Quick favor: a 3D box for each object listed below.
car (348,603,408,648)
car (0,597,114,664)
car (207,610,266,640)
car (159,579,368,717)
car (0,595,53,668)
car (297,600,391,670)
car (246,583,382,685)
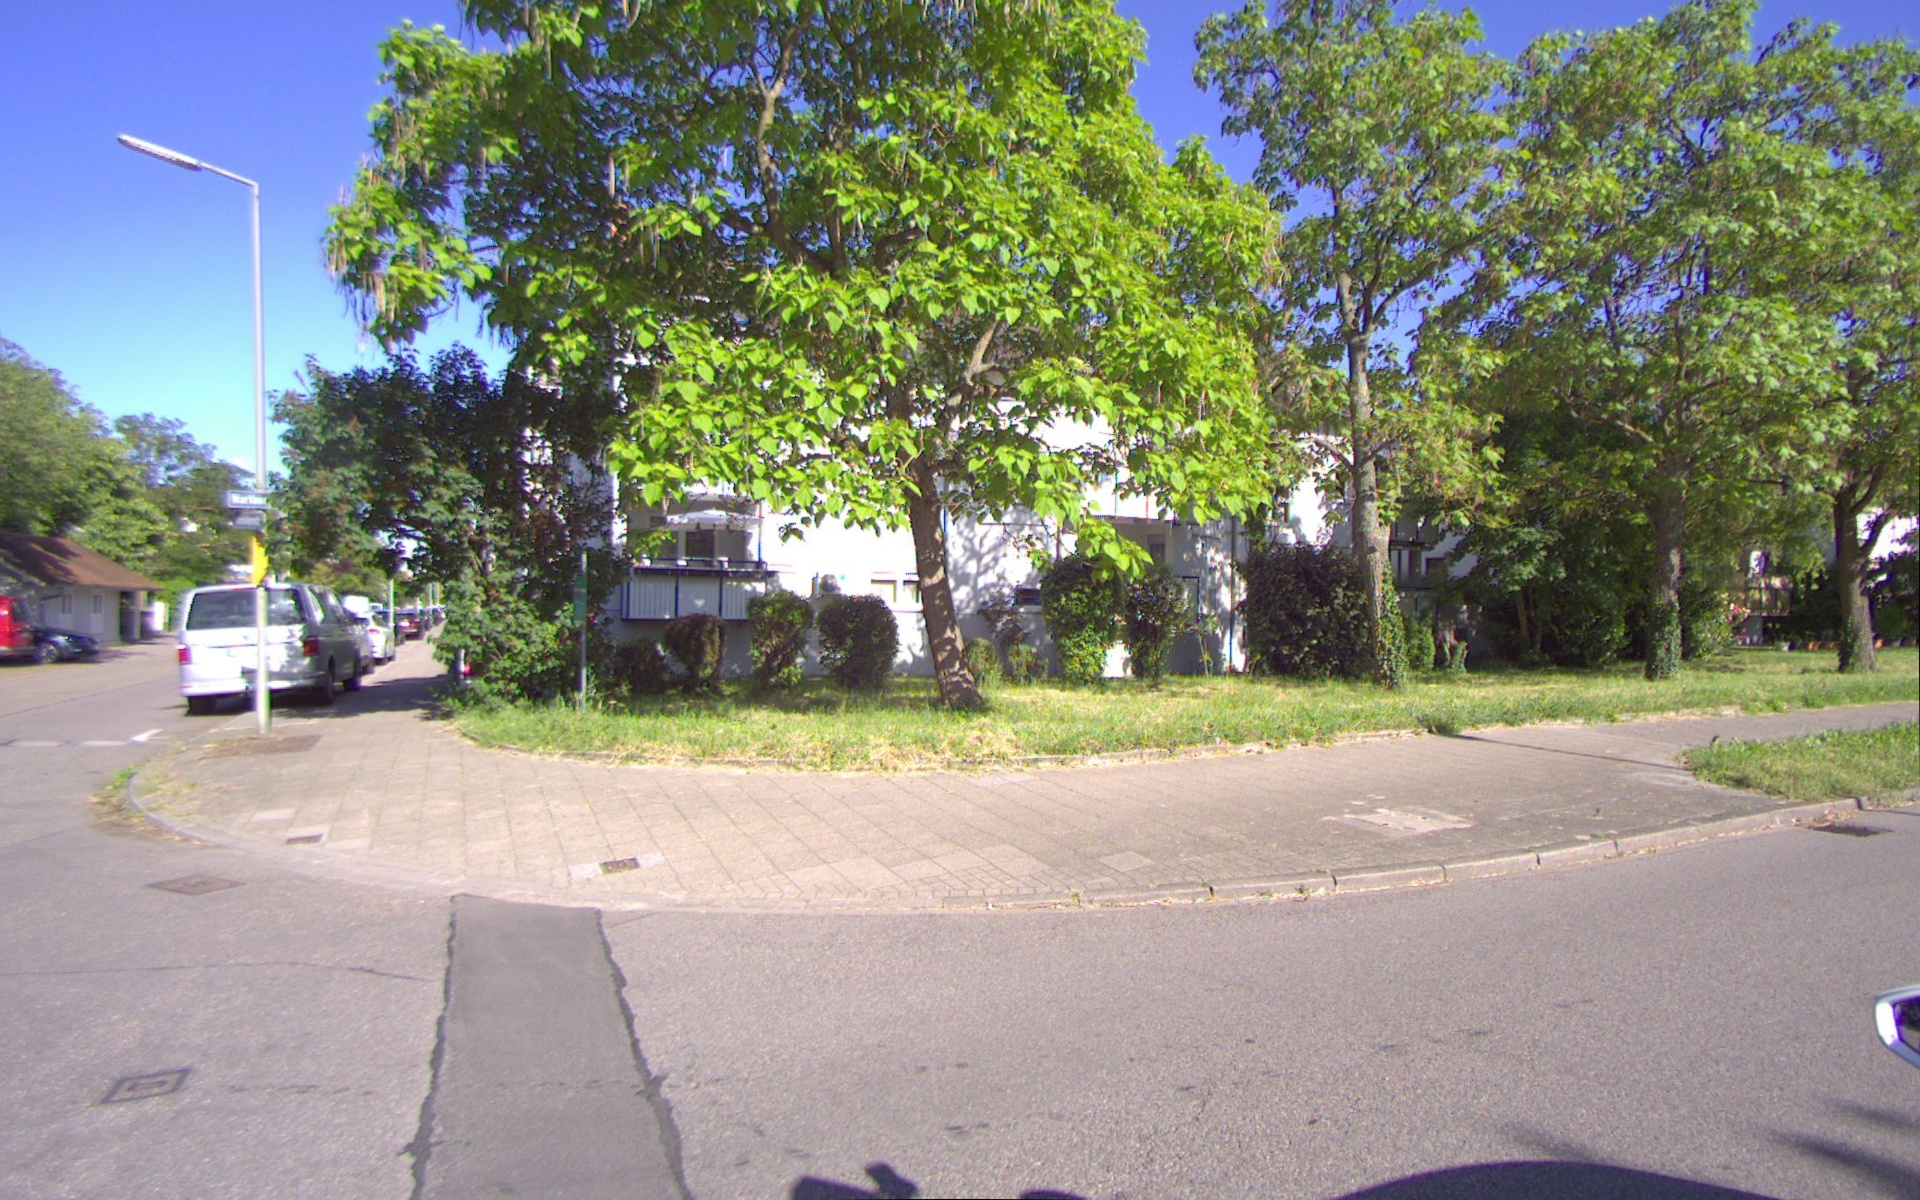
[{"bbox_3d":[-24.866,1.063,43.011,1.974,1.806,3.972,0,-1,-27],"label":"car"},{"bbox_3d":[-26.246,0.809,27.558,4.301,1.794,1.663,3,-2,-28],"label":"car"},{"bbox_3d":[-36.097,1.250,50.207,1.746,1.438,3.875,0,-1,-26],"label":"car"},{"bbox_3d":[-11.484,0.728,16.924,2.040,1.995,4.441,0,-1,-24],"label":"car"},{"bbox_3d":[-25.958,0.734,25.257,4.301,1.831,1.663,3,-2,-28],"label":"car"},{"bbox_3d":[-17.110,0.924,28.082,1.897,1.806,4.067,0,-1,-27],"label":"car"},{"bbox_3d":[-14.154,0.715,22.239,1.910,2.024,3.976,0,-1,-24],"label":"car"}]
